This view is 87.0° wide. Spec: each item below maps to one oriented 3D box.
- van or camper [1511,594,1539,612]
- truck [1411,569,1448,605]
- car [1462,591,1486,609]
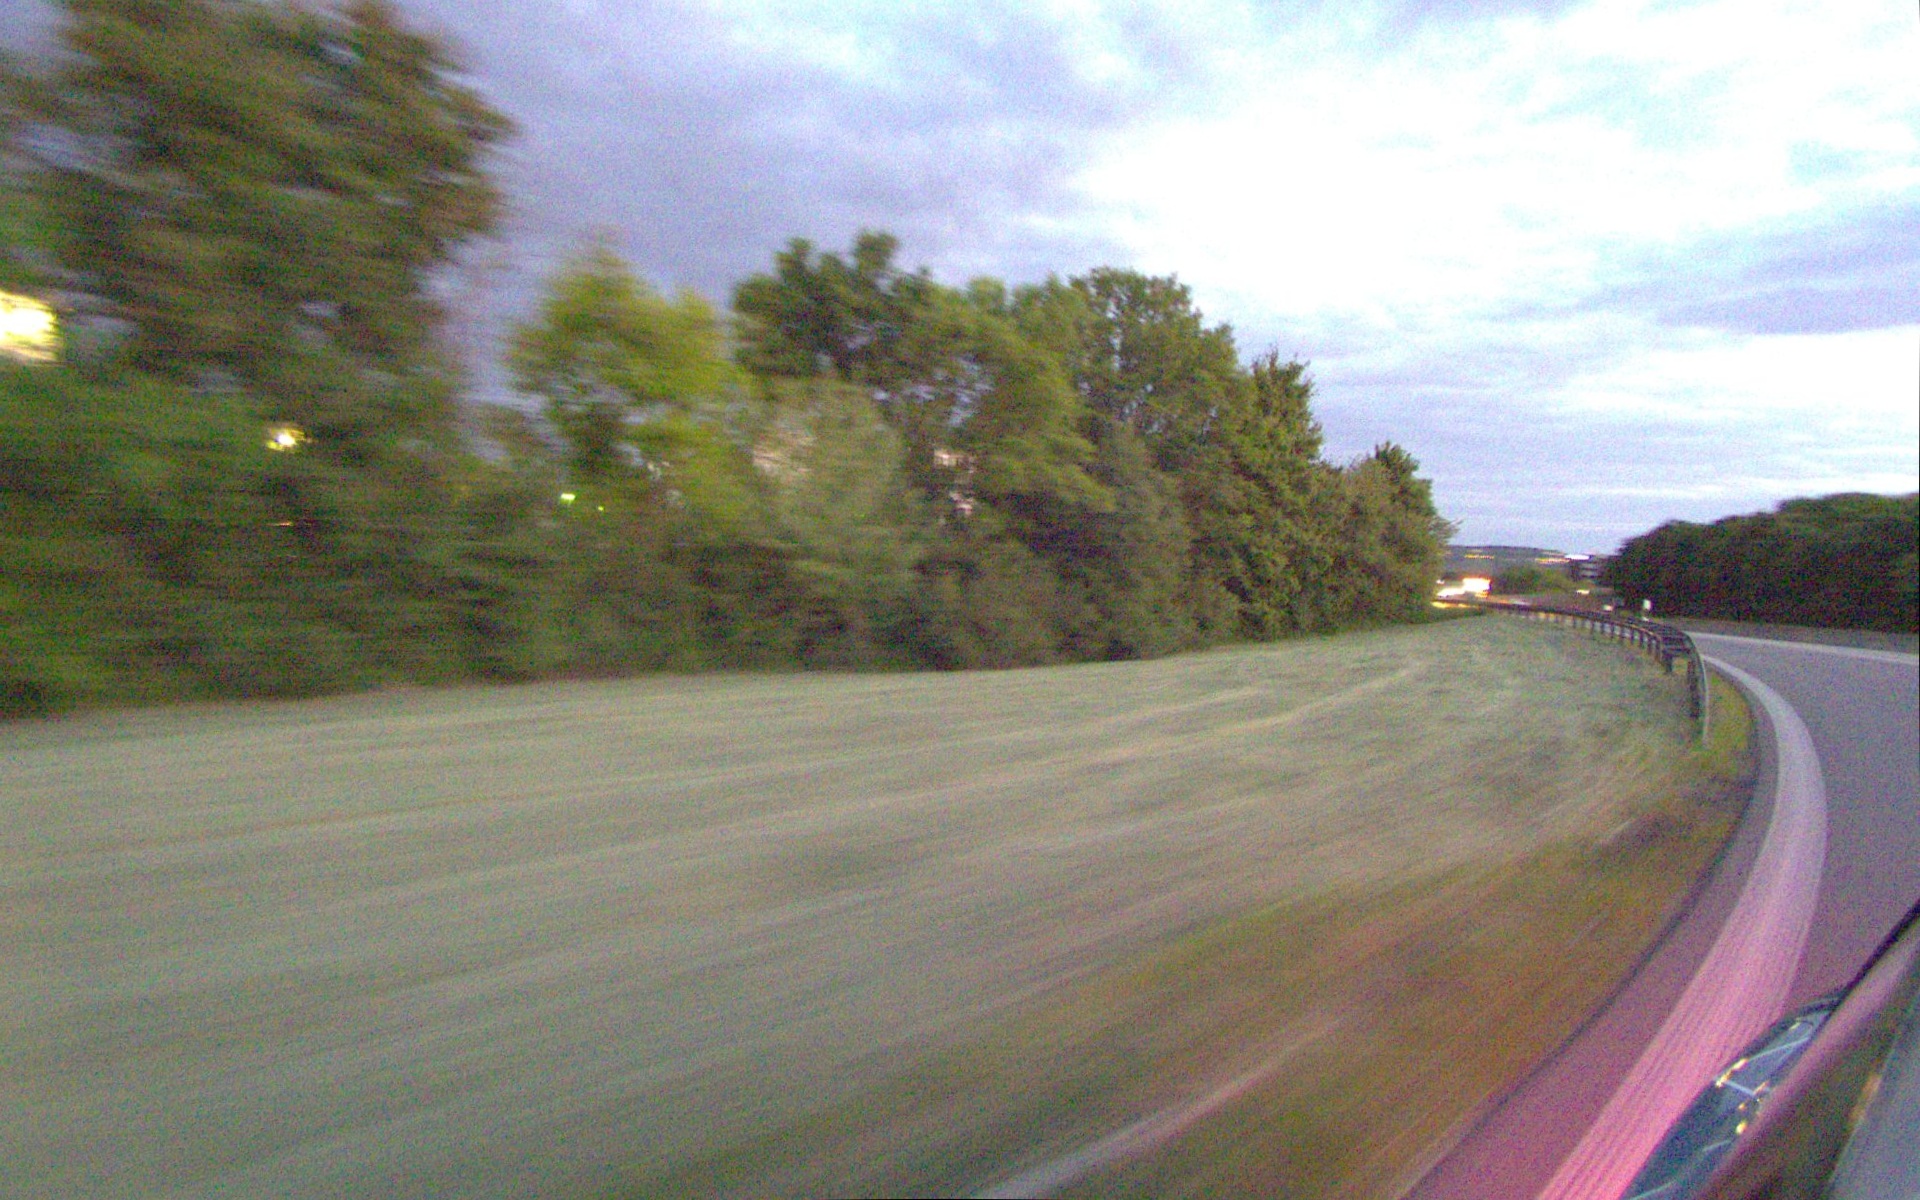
[{"bbox_3d":[96.331,0.475,172.628,2.491,2.626,6.456,5,3,16],"label":"van or camper"},{"bbox_3d":[63.664,-1.745,137.378,3.317,4.370,11.248,6,3,20],"label":"truck"},{"bbox_3d":[65.360,-0.067,128.740,1.977,2.037,3.973,6,3,20],"label":"car"}]
